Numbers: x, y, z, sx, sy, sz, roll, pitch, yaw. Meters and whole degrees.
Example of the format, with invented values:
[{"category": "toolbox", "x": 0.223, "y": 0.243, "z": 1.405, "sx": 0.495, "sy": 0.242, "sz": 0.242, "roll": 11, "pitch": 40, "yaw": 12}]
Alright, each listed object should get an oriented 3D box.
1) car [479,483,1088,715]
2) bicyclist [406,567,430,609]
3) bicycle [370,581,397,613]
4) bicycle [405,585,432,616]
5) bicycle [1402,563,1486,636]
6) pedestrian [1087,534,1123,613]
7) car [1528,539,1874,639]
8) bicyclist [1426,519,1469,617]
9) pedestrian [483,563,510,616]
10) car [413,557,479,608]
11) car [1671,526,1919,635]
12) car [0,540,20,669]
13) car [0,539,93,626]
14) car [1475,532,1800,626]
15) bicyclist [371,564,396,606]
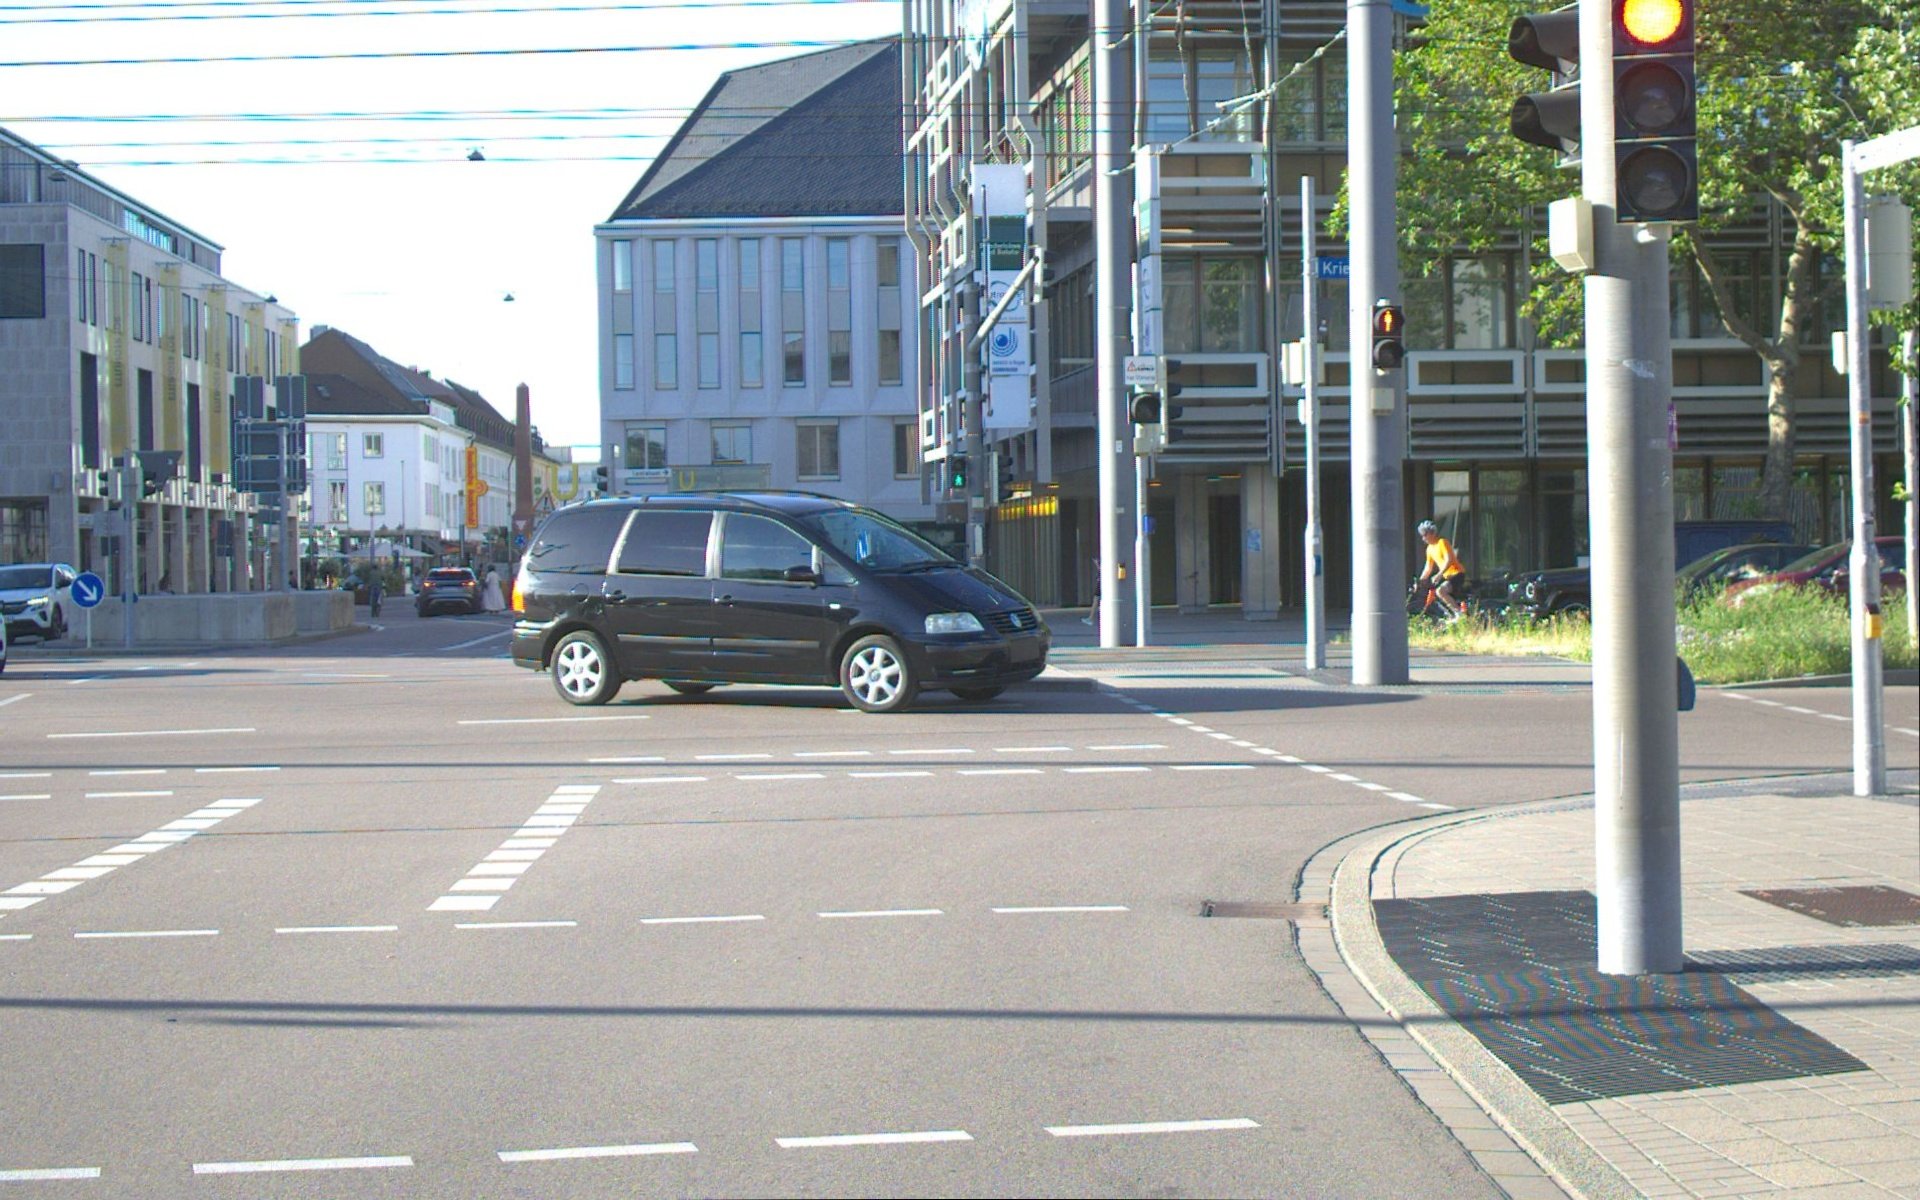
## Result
[{"category": "car", "x": -1.471, "y": -0.073, "z": 28.096, "sx": 4.639, "sy": 1.736, "sz": 1.997, "roll": 1, "pitch": 3, "yaw": 31}, {"category": "bicyclist", "x": -19.254, "y": -0.433, "z": 122.212, "sx": 0.746, "sy": 1.456, "sz": 0.767, "roll": -1, "pitch": 1, "yaw": -4}, {"category": "bicycle", "x": -20.339, "y": -0.112, "z": 121.333, "sx": 0.741, "sy": 1.042, "sz": 2.432, "roll": -1, "pitch": 1, "yaw": -5}, {"category": "bicycle", "x": -19.204, "y": 0.008, "z": 121.900, "sx": 0.741, "sy": 1.042, "sz": 2.432, "roll": -1, "pitch": 1, "yaw": -5}, {"category": "bicycle", "x": 6.645, "y": -0.010, "z": 47.202, "sx": 1.076, "sy": 0.967, "sz": 0.458, "roll": -1, "pitch": 1, "yaw": 1}, {"category": "pedestrian", "x": 2.822, "y": -0.521, "z": 66.928, "sx": 0.623, "sy": 1.513, "sz": 0.653, "roll": -1, "pitch": 1, "yaw": 7}, {"category": "car", "x": 10.955, "y": -0.183, "z": 51.005, "sx": 4.630, "sy": 1.351, "sz": 2.001, "roll": -1, "pitch": 2, "yaw": -5}, {"category": "bicyclist", "x": 6.692, "y": -0.446, "z": 47.199, "sx": 0.508, "sy": 1.333, "sz": 0.452, "roll": -1, "pitch": 1, "yaw": 1}, {"category": "pedestrian", "x": -14.611, "y": -0.338, "z": 108.434, "sx": 0.714, "sy": 1.662, "sz": 0.987, "roll": -1, "pitch": 1, "yaw": -1}, {"category": "car", "x": -16.155, "y": -0.567, "z": 108.240, "sx": 1.993, "sy": 1.546, "sz": 4.001, "roll": -1, "pitch": 1, "yaw": -8}, {"category": "car", "x": 12.140, "y": -0.287, "z": 46.324, "sx": 4.630, "sy": 1.351, "sz": 2.001, "roll": -1, "pitch": 2, "yaw": -5}, {"category": "car", "x": -11.948, "y": 0.003, "z": 37.938, "sx": 1.993, "sy": 1.351, "sz": 4.647, "roll": -2, "pitch": 3, "yaw": -29}, {"category": "car", "x": -18.915, "y": -0.328, "z": 69.391, "sx": 1.993, "sy": 1.618, "sz": 4.238, "roll": -1, "pitch": -1, "yaw": -4}, {"category": "car", "x": 10.590, "y": -0.348, "z": 53.938, "sx": 4.630, "sy": 1.351, "sz": 2.001, "roll": -1, "pitch": 2, "yaw": -5}, {"category": "bicyclist", "x": -20.353, "y": -0.528, "z": 121.391, "sx": 0.746, "sy": 1.456, "sz": 0.767, "roll": -1, "pitch": 1, "yaw": -4}]
